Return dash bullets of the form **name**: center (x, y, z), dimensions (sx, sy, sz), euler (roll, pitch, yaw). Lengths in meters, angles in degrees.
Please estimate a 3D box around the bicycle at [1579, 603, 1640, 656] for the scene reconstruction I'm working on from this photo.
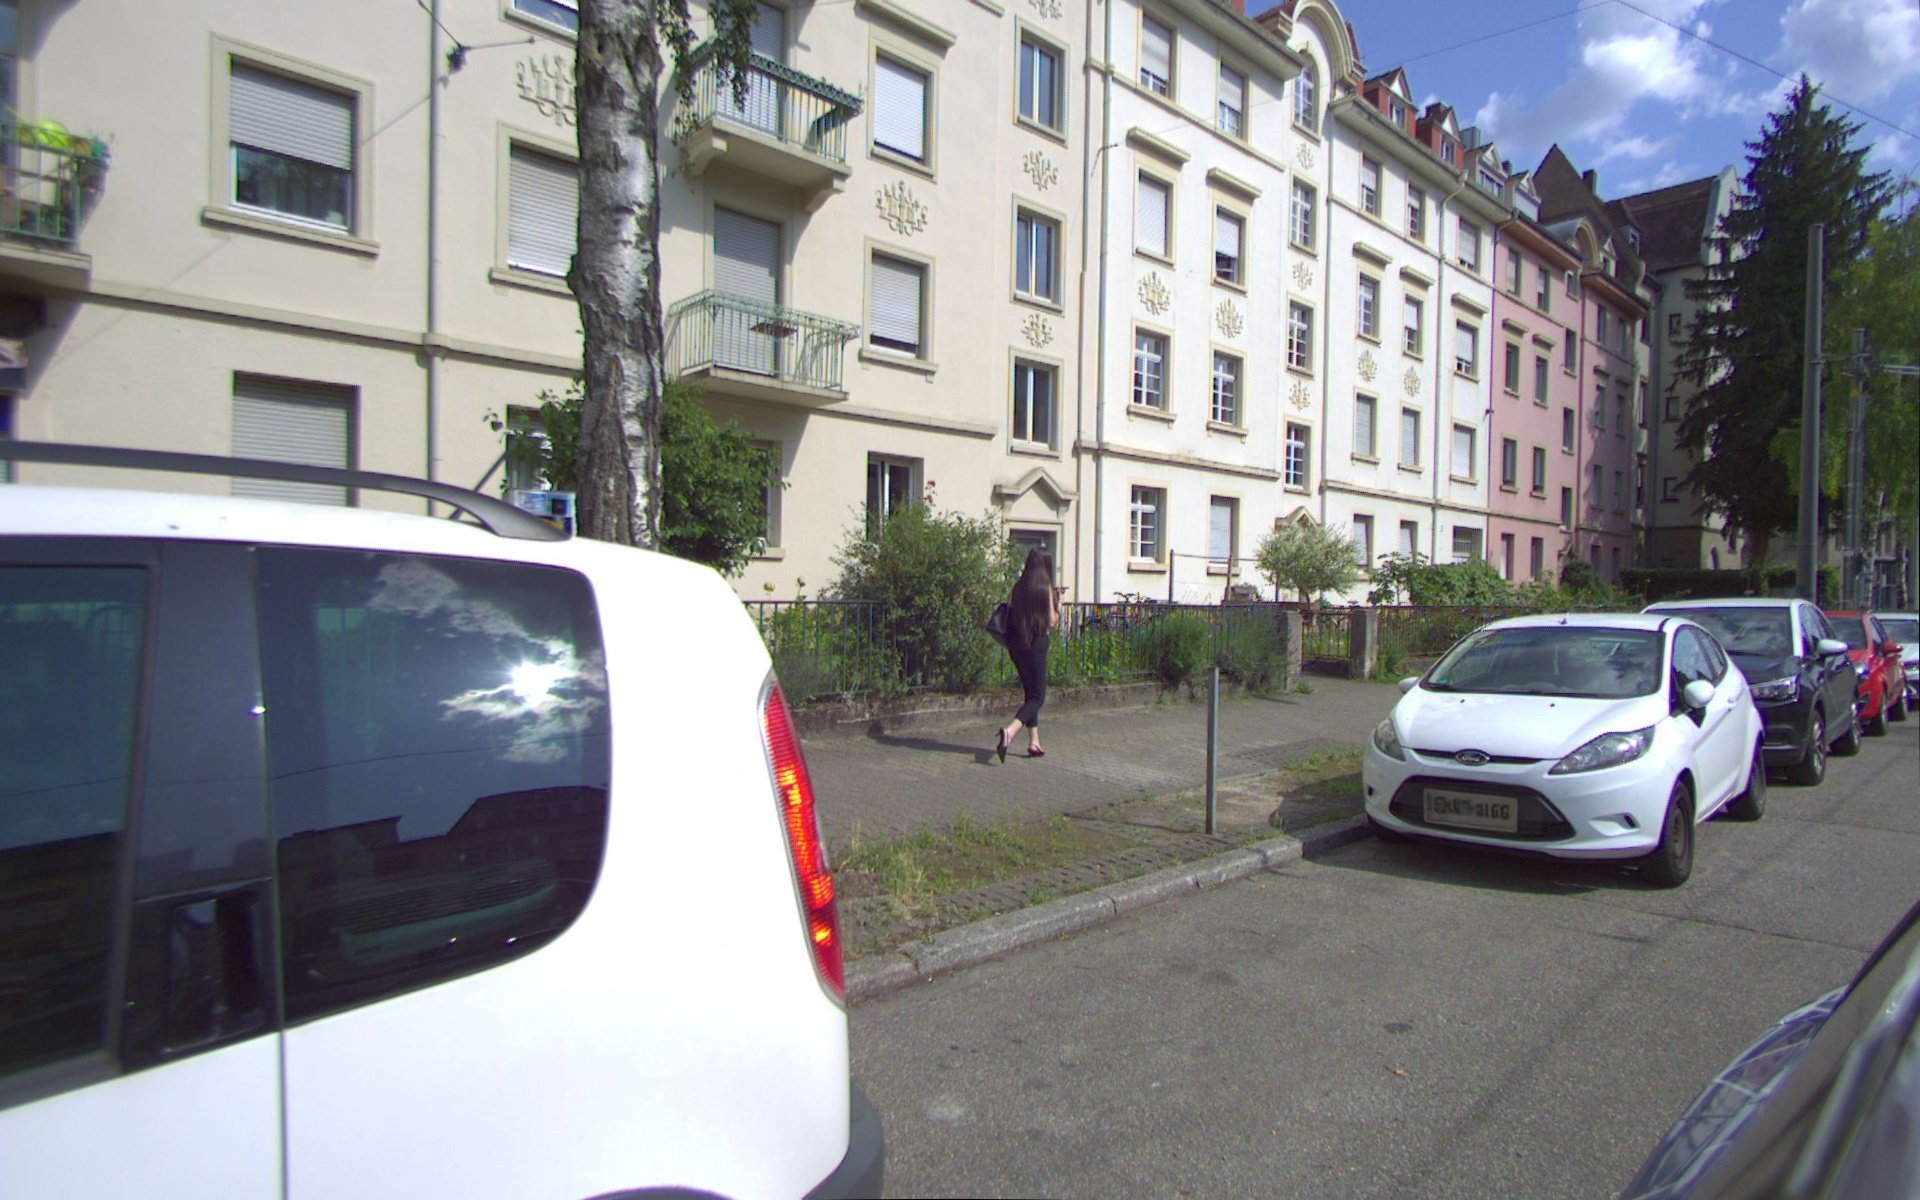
- **bicycle**: center (14.069, 0.609, 21.900), dimensions (2.144, 1.090, 0.472), euler (0, 1, -40)

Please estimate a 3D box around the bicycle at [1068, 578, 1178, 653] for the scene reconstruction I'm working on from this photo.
- **bicycle**: center (2.919, 0.249, 18.265), dimensions (0.661, 1.267, 1.976), euler (1, 1, -42)

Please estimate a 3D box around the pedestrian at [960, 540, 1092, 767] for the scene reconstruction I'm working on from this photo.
- **pedestrian**: center (0.519, 0.393, 8.120), dimensions (0.678, 1.703, 0.732), euler (1, 3, -38)

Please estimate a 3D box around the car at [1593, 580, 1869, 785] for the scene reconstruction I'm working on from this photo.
- **car**: center (7.493, 0.654, 9.713), dimensions (3.695, 1.599, 1.495), euler (0, -1, -43)

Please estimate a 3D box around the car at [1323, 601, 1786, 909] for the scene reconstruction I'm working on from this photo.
- **car**: center (4.067, 0.748, 6.664), dimensions (3.732, 1.435, 1.673), euler (0, -2, -44)

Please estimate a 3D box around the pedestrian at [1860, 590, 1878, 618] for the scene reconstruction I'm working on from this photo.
- **pedestrian**: center (61.747, 0.247, 68.752), dimensions (0.731, 1.866, 0.797), euler (1, 1, 33)

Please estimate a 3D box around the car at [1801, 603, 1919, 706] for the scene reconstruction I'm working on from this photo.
- **car**: center (14.842, 0.796, 16.133), dimensions (3.851, 1.471, 1.621), euler (0, -2, -42)

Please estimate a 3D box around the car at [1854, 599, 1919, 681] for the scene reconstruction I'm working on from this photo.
- **car**: center (19.650, 0.759, 20.514), dimensions (4.449, 1.540, 1.794), euler (0, -2, -42)

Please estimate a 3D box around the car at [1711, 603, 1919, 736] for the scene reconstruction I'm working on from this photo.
- **car**: center (11.265, 0.814, 13.189), dimensions (3.778, 1.471, 1.591), euler (0, -2, -42)

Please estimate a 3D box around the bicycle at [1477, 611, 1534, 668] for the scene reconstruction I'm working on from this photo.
- **bicycle**: center (9.693, 0.678, 17.955), dimensions (1.558, 0.950, 0.388), euler (0, 1, -42)

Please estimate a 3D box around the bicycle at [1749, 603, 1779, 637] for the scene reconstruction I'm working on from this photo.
- **bicycle**: center (25.788, 0.628, 32.441), dimensions (1.747, 1.066, 0.420), euler (0, 1, -41)

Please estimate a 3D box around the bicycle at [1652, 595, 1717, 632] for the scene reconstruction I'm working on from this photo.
- **bicycle**: center (25.510, 0.454, 35.654), dimensions (0.414, 1.235, 1.775), euler (1, 1, -42)

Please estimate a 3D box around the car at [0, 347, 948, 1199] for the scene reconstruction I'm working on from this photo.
- **car**: center (-2.077, 0.620, 0.951), dimensions (3.928, 1.650, 1.725), euler (0, -1, -39)

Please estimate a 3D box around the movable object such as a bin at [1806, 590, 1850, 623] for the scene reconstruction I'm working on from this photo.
- **movable object such as a bin**: center (41.640, 0.318, 48.552), dimensions (1.965, 1.511, 1.304), euler (0, 1, -41)
